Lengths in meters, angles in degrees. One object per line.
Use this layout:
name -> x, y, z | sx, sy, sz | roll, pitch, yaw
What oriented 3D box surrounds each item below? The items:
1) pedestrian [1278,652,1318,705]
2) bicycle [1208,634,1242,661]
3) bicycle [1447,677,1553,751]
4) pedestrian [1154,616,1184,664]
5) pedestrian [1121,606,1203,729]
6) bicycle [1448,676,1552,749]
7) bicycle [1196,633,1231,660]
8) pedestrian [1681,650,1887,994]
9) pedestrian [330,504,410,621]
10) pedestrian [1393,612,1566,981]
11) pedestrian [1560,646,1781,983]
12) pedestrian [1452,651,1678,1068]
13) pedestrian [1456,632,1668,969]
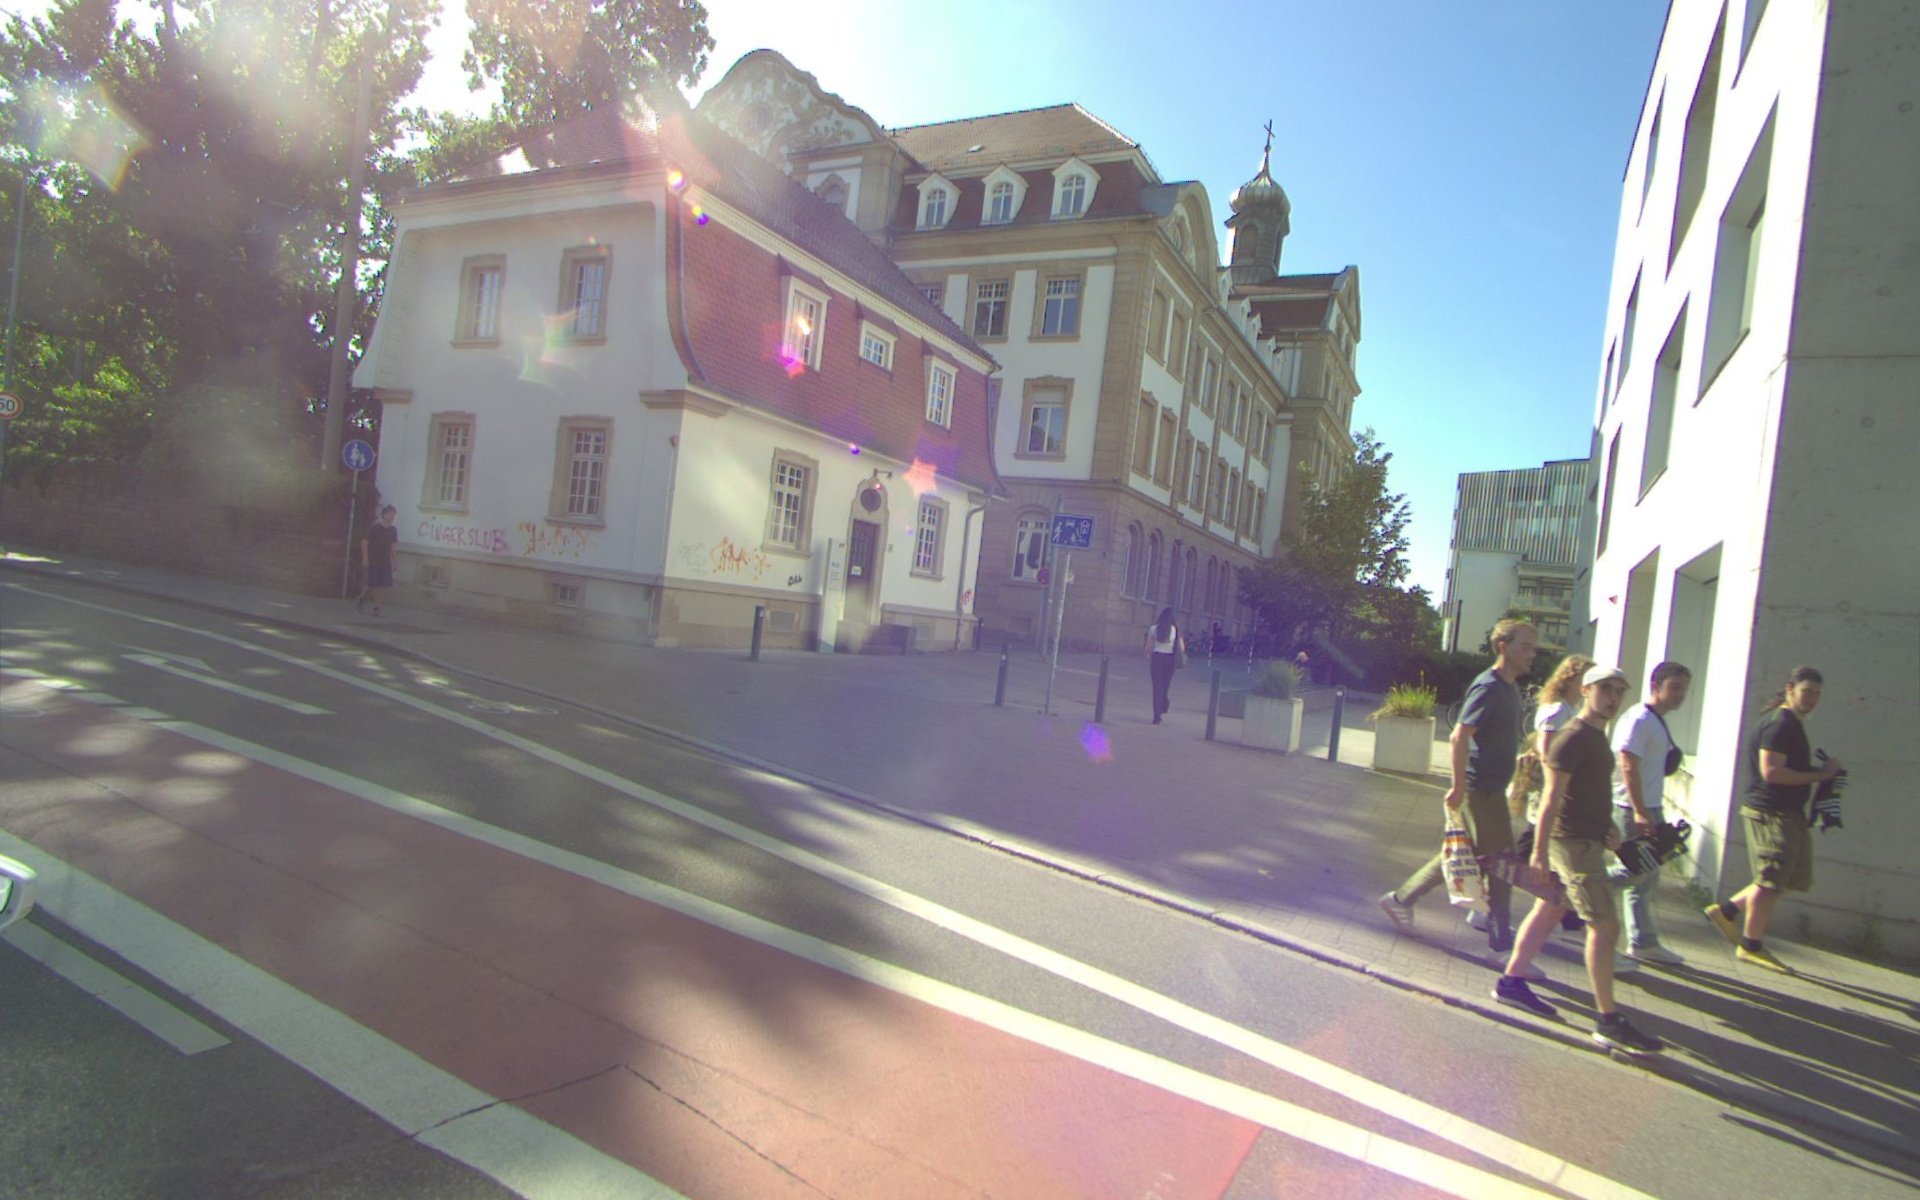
pedestrian -> 8.348, 1.920, 24.807 | 0.641, 1.207, 0.965 | 7, 1, 30
bicycle -> 12.409, 2.220, 47.101 | 1.363, 1.030, 0.470 | 8, 3, 31
bicycle -> 9.764, 2.041, 18.213 | 1.560, 1.109, 0.497 | 6, 1, 33
pedestrian -> 7.461, 1.430, 35.955 | 0.632, 1.606, 0.926 | 7, 1, 30
pedestrian -> 2.972, 0.979, 14.748 | 0.844, 1.661, 0.993 | 5, 0, 24
bicycle -> 10.005, 2.066, 18.659 | 1.566, 1.109, 0.497 | 6, 1, 33
bicycle -> 11.449, 2.085, 45.495 | 1.363, 1.030, 0.470 | 8, 3, 31
pedestrian -> 4.891, 1.259, 6.035 | 0.720, 1.827, 0.656 | 8, 5, 37
pedestrian -> -10.409, -0.656, 17.742 | 1.115, 1.929, 0.638 | 7, 3, 30
pedestrian -> 2.960, 1.063, 5.734 | 0.602, 1.929, 0.517 | 8, 5, 37
pedestrian -> 4.134, 1.211, 5.895 | 0.603, 1.800, 0.649 | 3, 5, -20
pedestrian -> 2.937, 1.180, 4.890 | 0.707, 1.771, 0.605 | 8, 5, 37
pedestrian -> 3.517, 1.132, 5.933 | 0.522, 1.800, 0.731 | 3, 5, -20
